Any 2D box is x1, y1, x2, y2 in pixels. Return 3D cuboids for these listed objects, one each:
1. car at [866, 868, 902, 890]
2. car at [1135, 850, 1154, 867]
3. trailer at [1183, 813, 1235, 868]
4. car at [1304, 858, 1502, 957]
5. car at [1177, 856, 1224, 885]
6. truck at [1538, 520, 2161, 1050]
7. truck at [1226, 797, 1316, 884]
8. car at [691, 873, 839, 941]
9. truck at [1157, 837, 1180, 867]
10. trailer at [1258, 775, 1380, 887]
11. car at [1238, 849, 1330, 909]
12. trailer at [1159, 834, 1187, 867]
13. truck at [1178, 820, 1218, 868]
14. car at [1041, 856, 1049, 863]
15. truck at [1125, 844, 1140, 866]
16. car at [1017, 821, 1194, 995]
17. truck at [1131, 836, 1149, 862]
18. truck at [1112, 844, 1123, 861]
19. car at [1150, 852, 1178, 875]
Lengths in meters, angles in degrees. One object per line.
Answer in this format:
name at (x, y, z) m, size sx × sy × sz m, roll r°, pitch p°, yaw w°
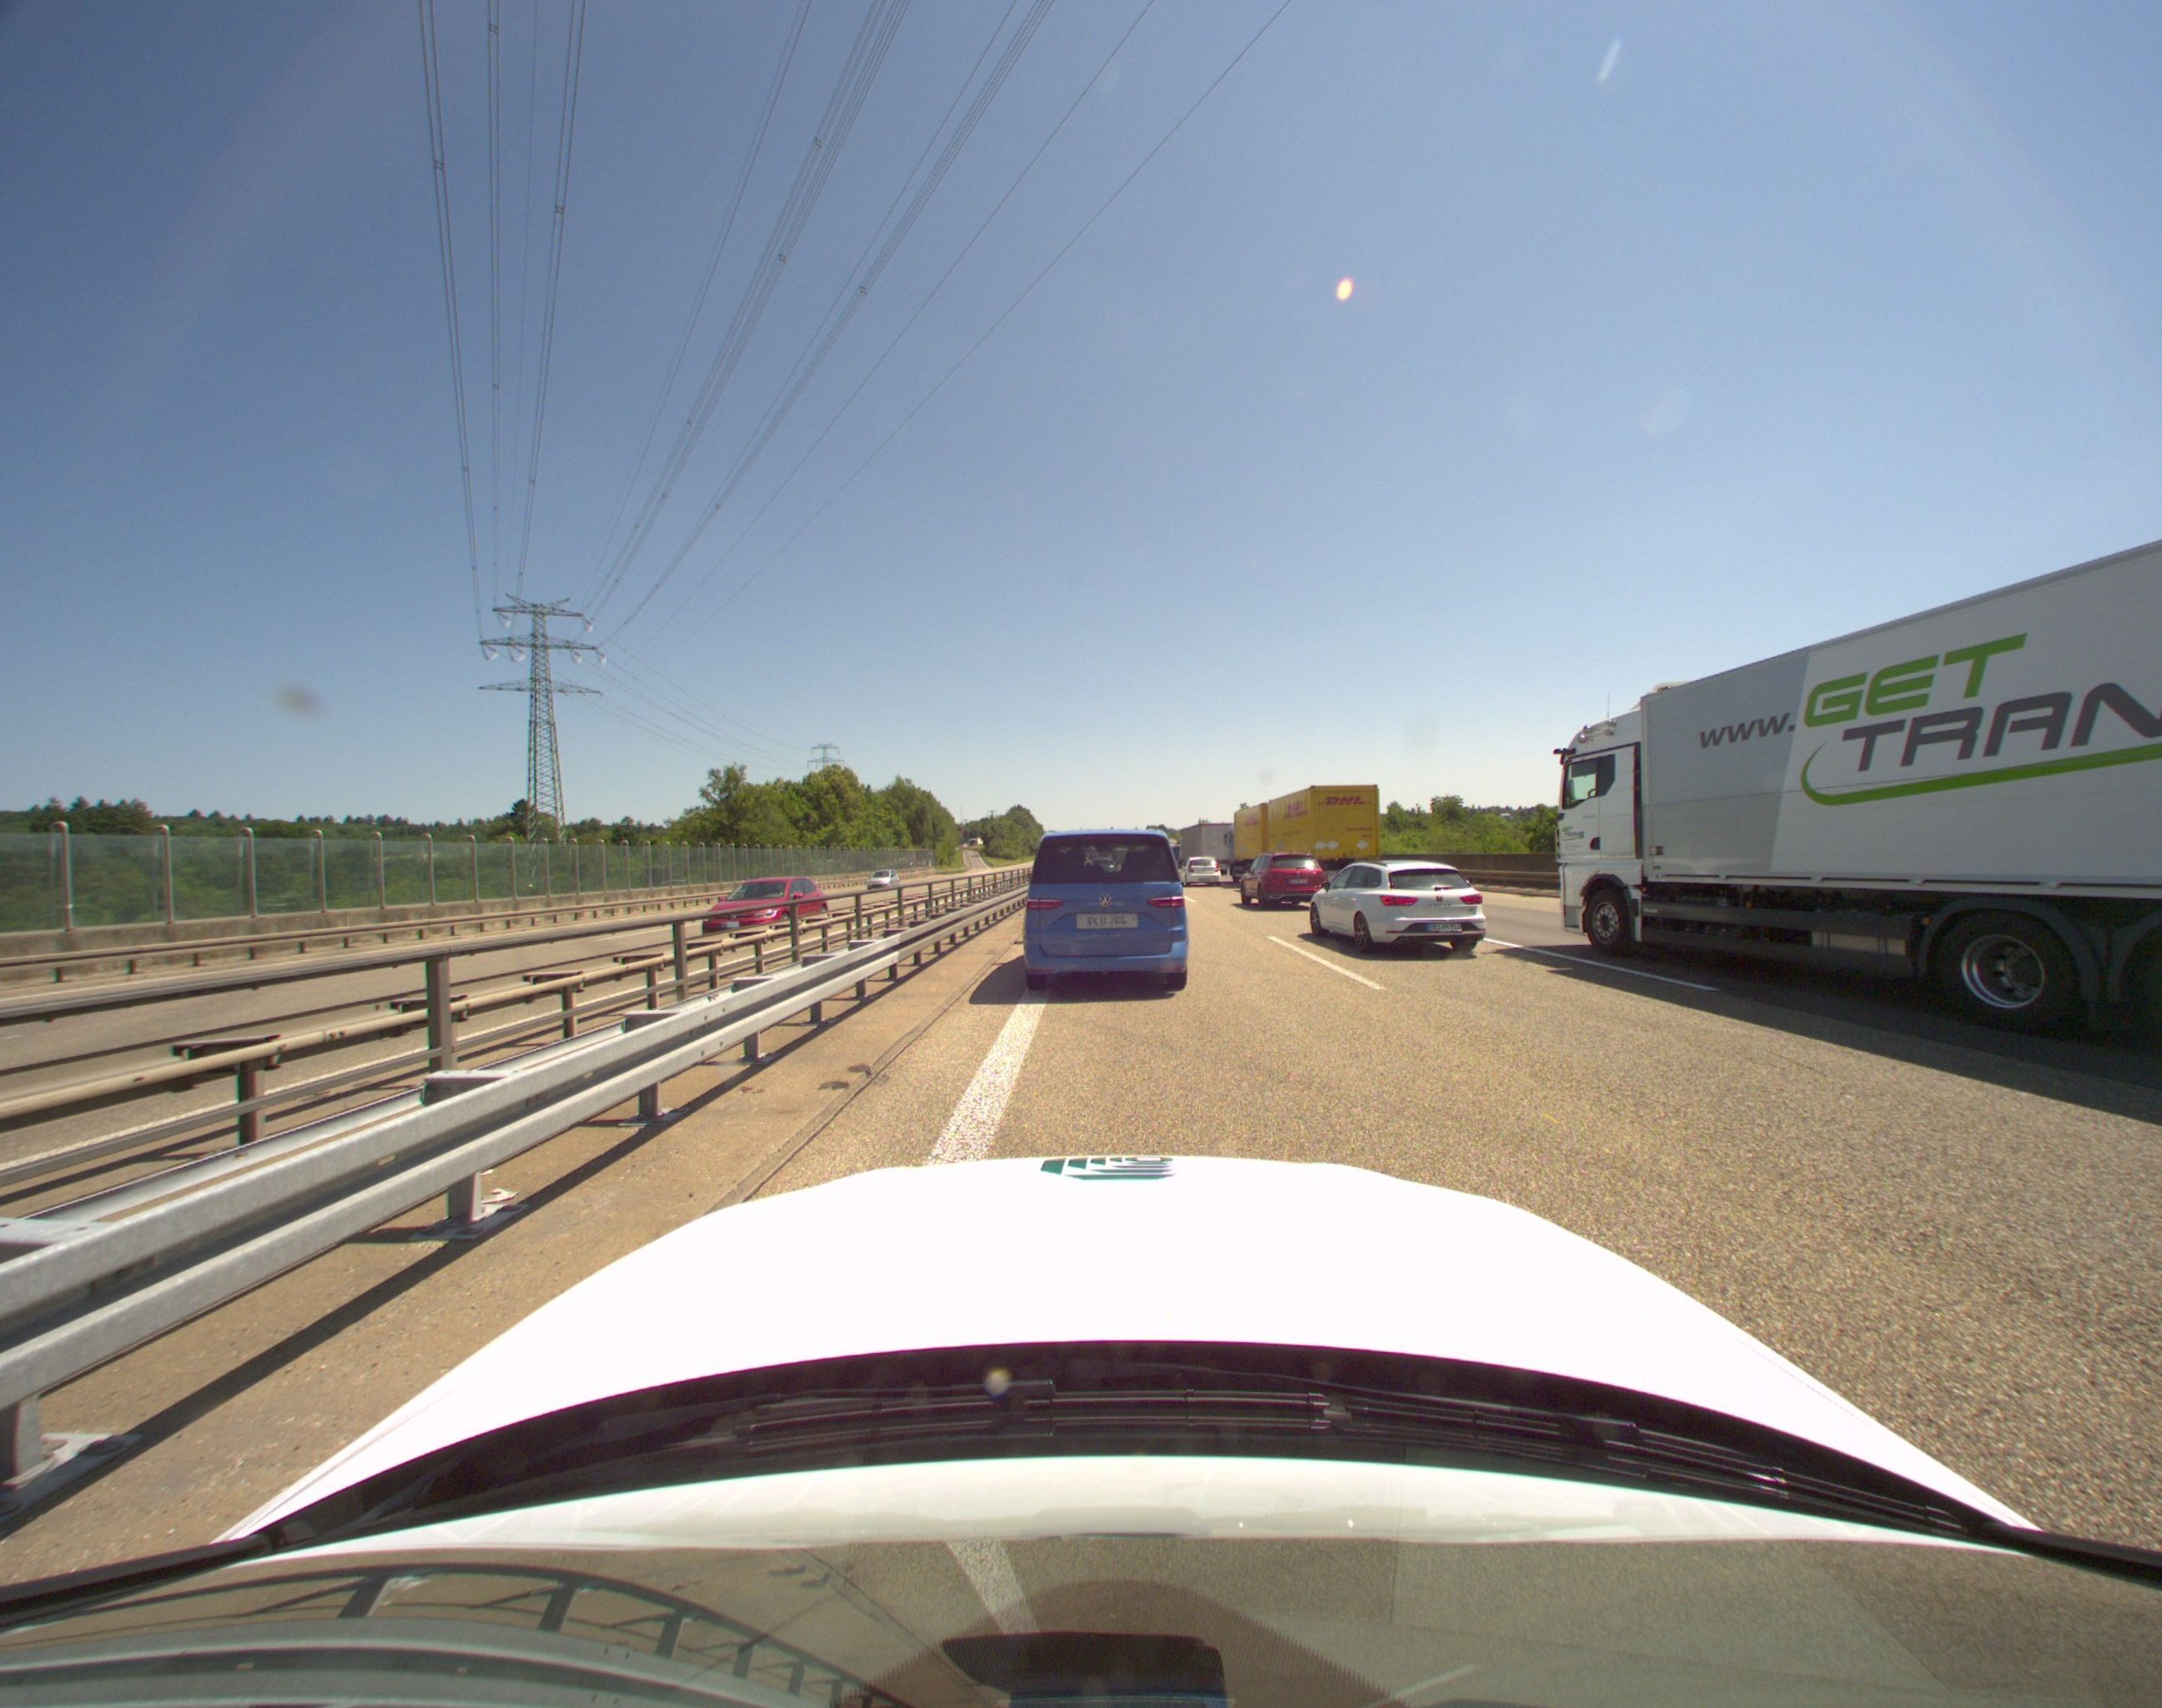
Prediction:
car at (-14.572, 1.834, 60.419) m, size 1.598 × 1.394 × 3.678 m, roll -4°, pitch 0°, yaw 2°
car at (6.475, 0.467, 83.187) m, size 1.709 × 1.540 × 3.822 m, roll -3°, pitch 0°, yaw 2°
trailer at (10.344, -0.923, 66.818) m, size 2.745 × 4.146 × 11.314 m, roll 0°, pitch -1°, yaw 1°
car at (5.195, 0.774, 13.775) m, size 1.774 × 1.387 × 4.189 m, roll -1°, pitch 0°, yaw 2°
car at (6.117, 0.827, 42.004) m, size 1.832 × 1.414 × 3.999 m, roll -1°, pitch 0°, yaw 0°
truck at (8.835, -0.444, 8.004) m, size 2.840 × 3.603 × 10.771 m, roll 0°, pitch -1°, yaw 1°
truck at (9.889, -0.562, 43.657) m, size 2.712 × 4.055 × 10.339 m, roll 0°, pitch -1°, yaw 2°
car at (-7.598, 1.224, 20.110) m, size 1.835 × 1.446 × 4.420 m, roll 0°, pitch -1°, yaw 1°
truck at (11.073, -0.214, 103.813) m, size 2.359 × 3.722 × 6.034 m, roll 0°, pitch -1°, yaw 1°
trailer at (9.600, -0.771, 34.011) m, size 2.691 × 4.024 × 8.933 m, roll 0°, pitch -1°, yaw 2°
car at (5.953, 0.699, 24.329) m, size 1.844 × 1.608 × 4.001 m, roll -1°, pitch 0°, yaw 2°
trailer at (10.963, -0.320, 97.768) m, size 2.371 × 3.744 × 11.189 m, roll 0°, pitch -1°, yaw 1°
truck at (10.545, -0.837, 73.727) m, size 2.758 × 4.095 × 6.986 m, roll 0°, pitch -1°, yaw 1°
car at (-9.342, 1.359, 210.209) m, size 1.774 × 1.569 × 4.388 m, roll -4°, pitch -1°, yaw 1°
truck at (12.129, 0.265, 191.569) m, size 2.824 × 5.040 × 11.814 m, roll 0°, pitch -1°, yaw 0°
car at (0.329, 0.596, 10.792) m, size 1.875 × 1.837 × 4.001 m, roll -1°, pitch 0°, yaw 2°
truck at (11.834, -0.958, 164.790) m, size 2.824 × 5.040 × 11.144 m, roll 0°, pitch -1°, yaw 0°
truck at (11.786, -0.318, 263.444) m, size 2.824 × 5.373 × 12.552 m, roll 0°, pitch -1°, yaw 0°
car at (6.004, 0.728, 59.358) m, size 1.709 × 1.587 × 3.822 m, roll -1°, pitch -2°, yaw 2°
